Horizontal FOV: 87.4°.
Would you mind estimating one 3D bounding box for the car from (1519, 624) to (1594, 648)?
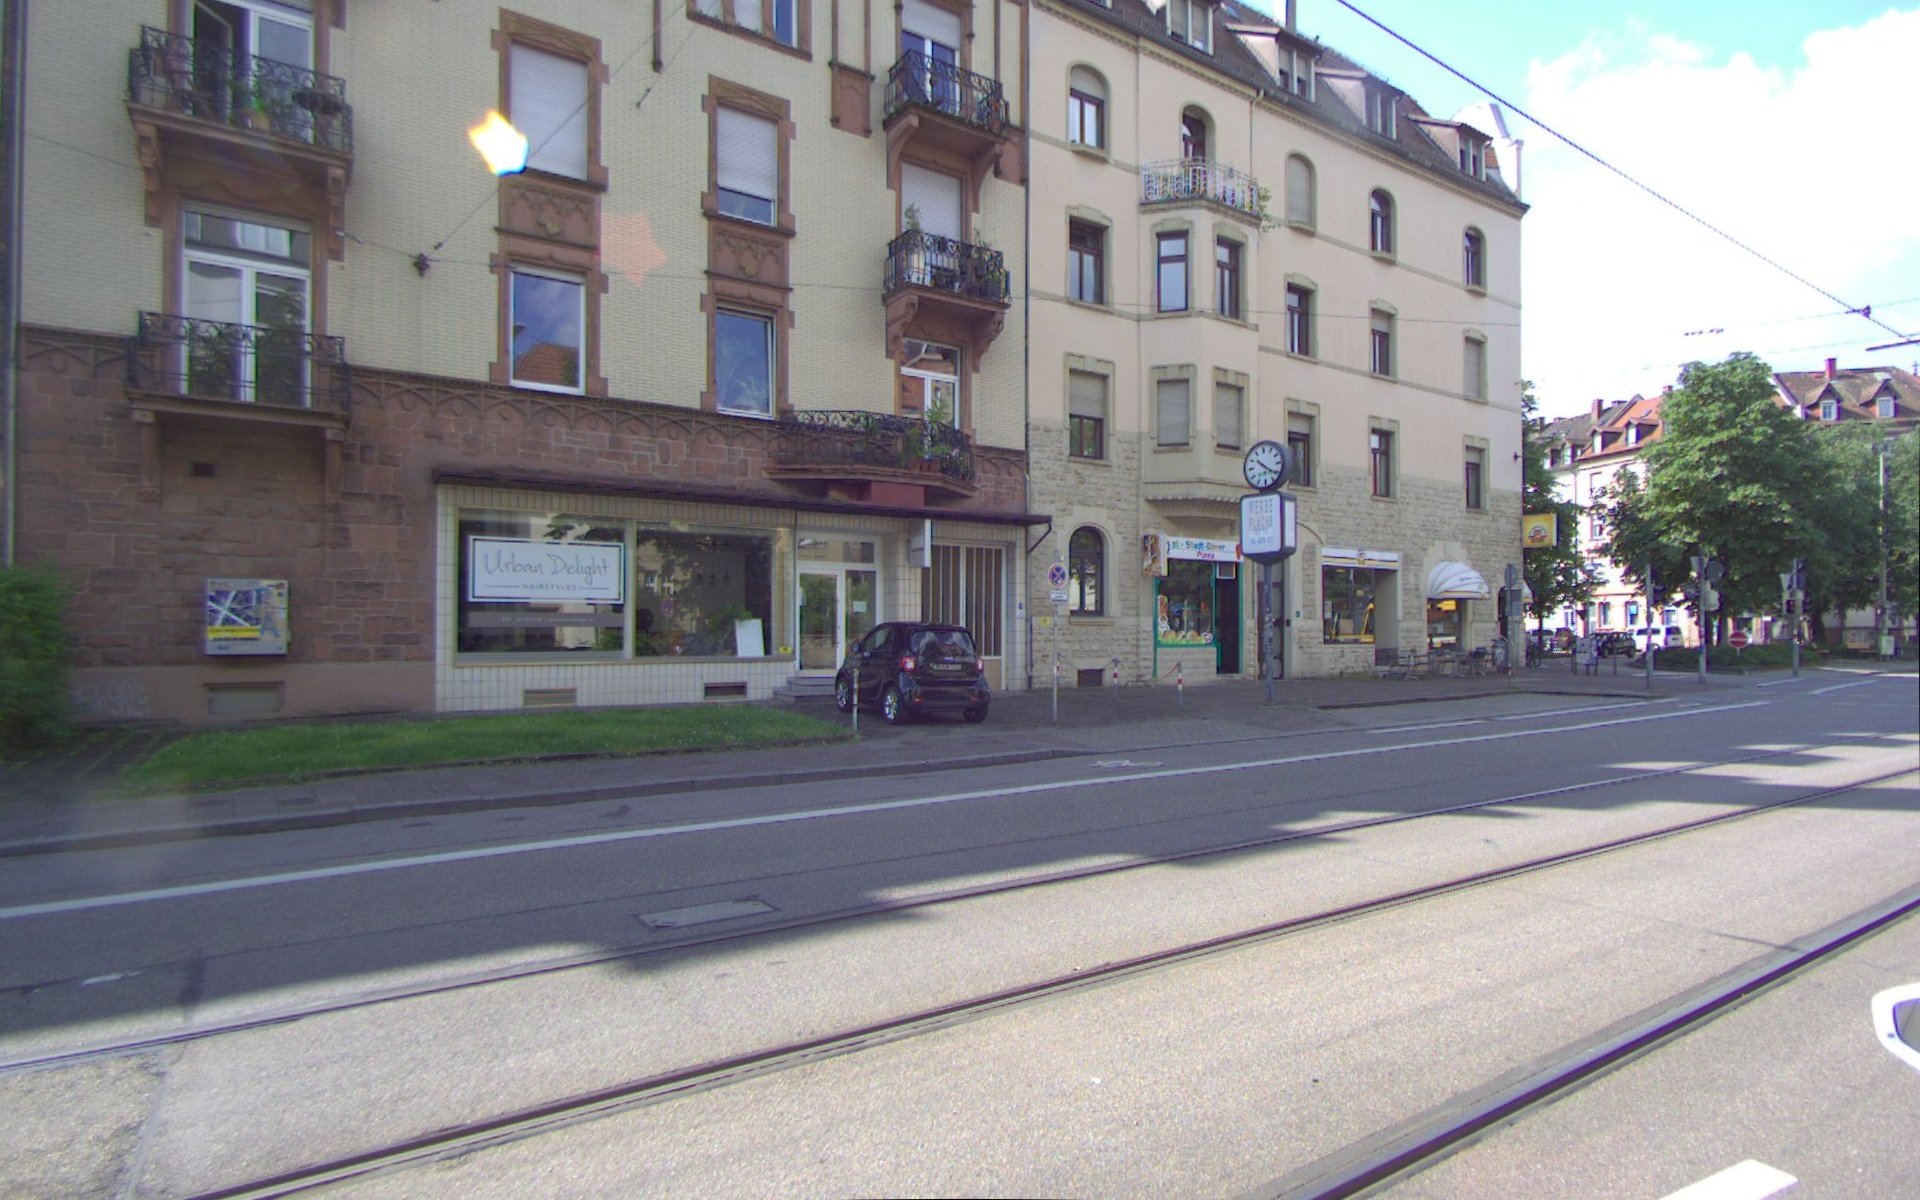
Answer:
[{"bbox_3d":[41.066,2.486,69.217,1.976,1.617,3.970,1,-2,-29],"label":"car"}]

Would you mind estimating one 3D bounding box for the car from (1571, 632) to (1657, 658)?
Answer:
[{"bbox_3d":[38.869,2.675,59.749,3.988,1.538,1.762,0,-2,0],"label":"car"}]

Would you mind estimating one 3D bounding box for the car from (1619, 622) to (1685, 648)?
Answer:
[{"bbox_3d":[51.717,2.610,75.108,1.962,1.929,3.997,0,-1,-5],"label":"car"}]

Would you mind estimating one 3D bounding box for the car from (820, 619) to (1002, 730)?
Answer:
[{"bbox_3d":[-0.893,1.130,16.500,1.716,1.505,3.163,1,1,-30],"label":"car"}]

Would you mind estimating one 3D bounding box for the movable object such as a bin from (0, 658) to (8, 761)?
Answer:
[{"bbox_3d":[-10.080,1.119,10.160,0.468,1.043,0.536,-1,-2,30],"label":"movable object such as a bin"}]
